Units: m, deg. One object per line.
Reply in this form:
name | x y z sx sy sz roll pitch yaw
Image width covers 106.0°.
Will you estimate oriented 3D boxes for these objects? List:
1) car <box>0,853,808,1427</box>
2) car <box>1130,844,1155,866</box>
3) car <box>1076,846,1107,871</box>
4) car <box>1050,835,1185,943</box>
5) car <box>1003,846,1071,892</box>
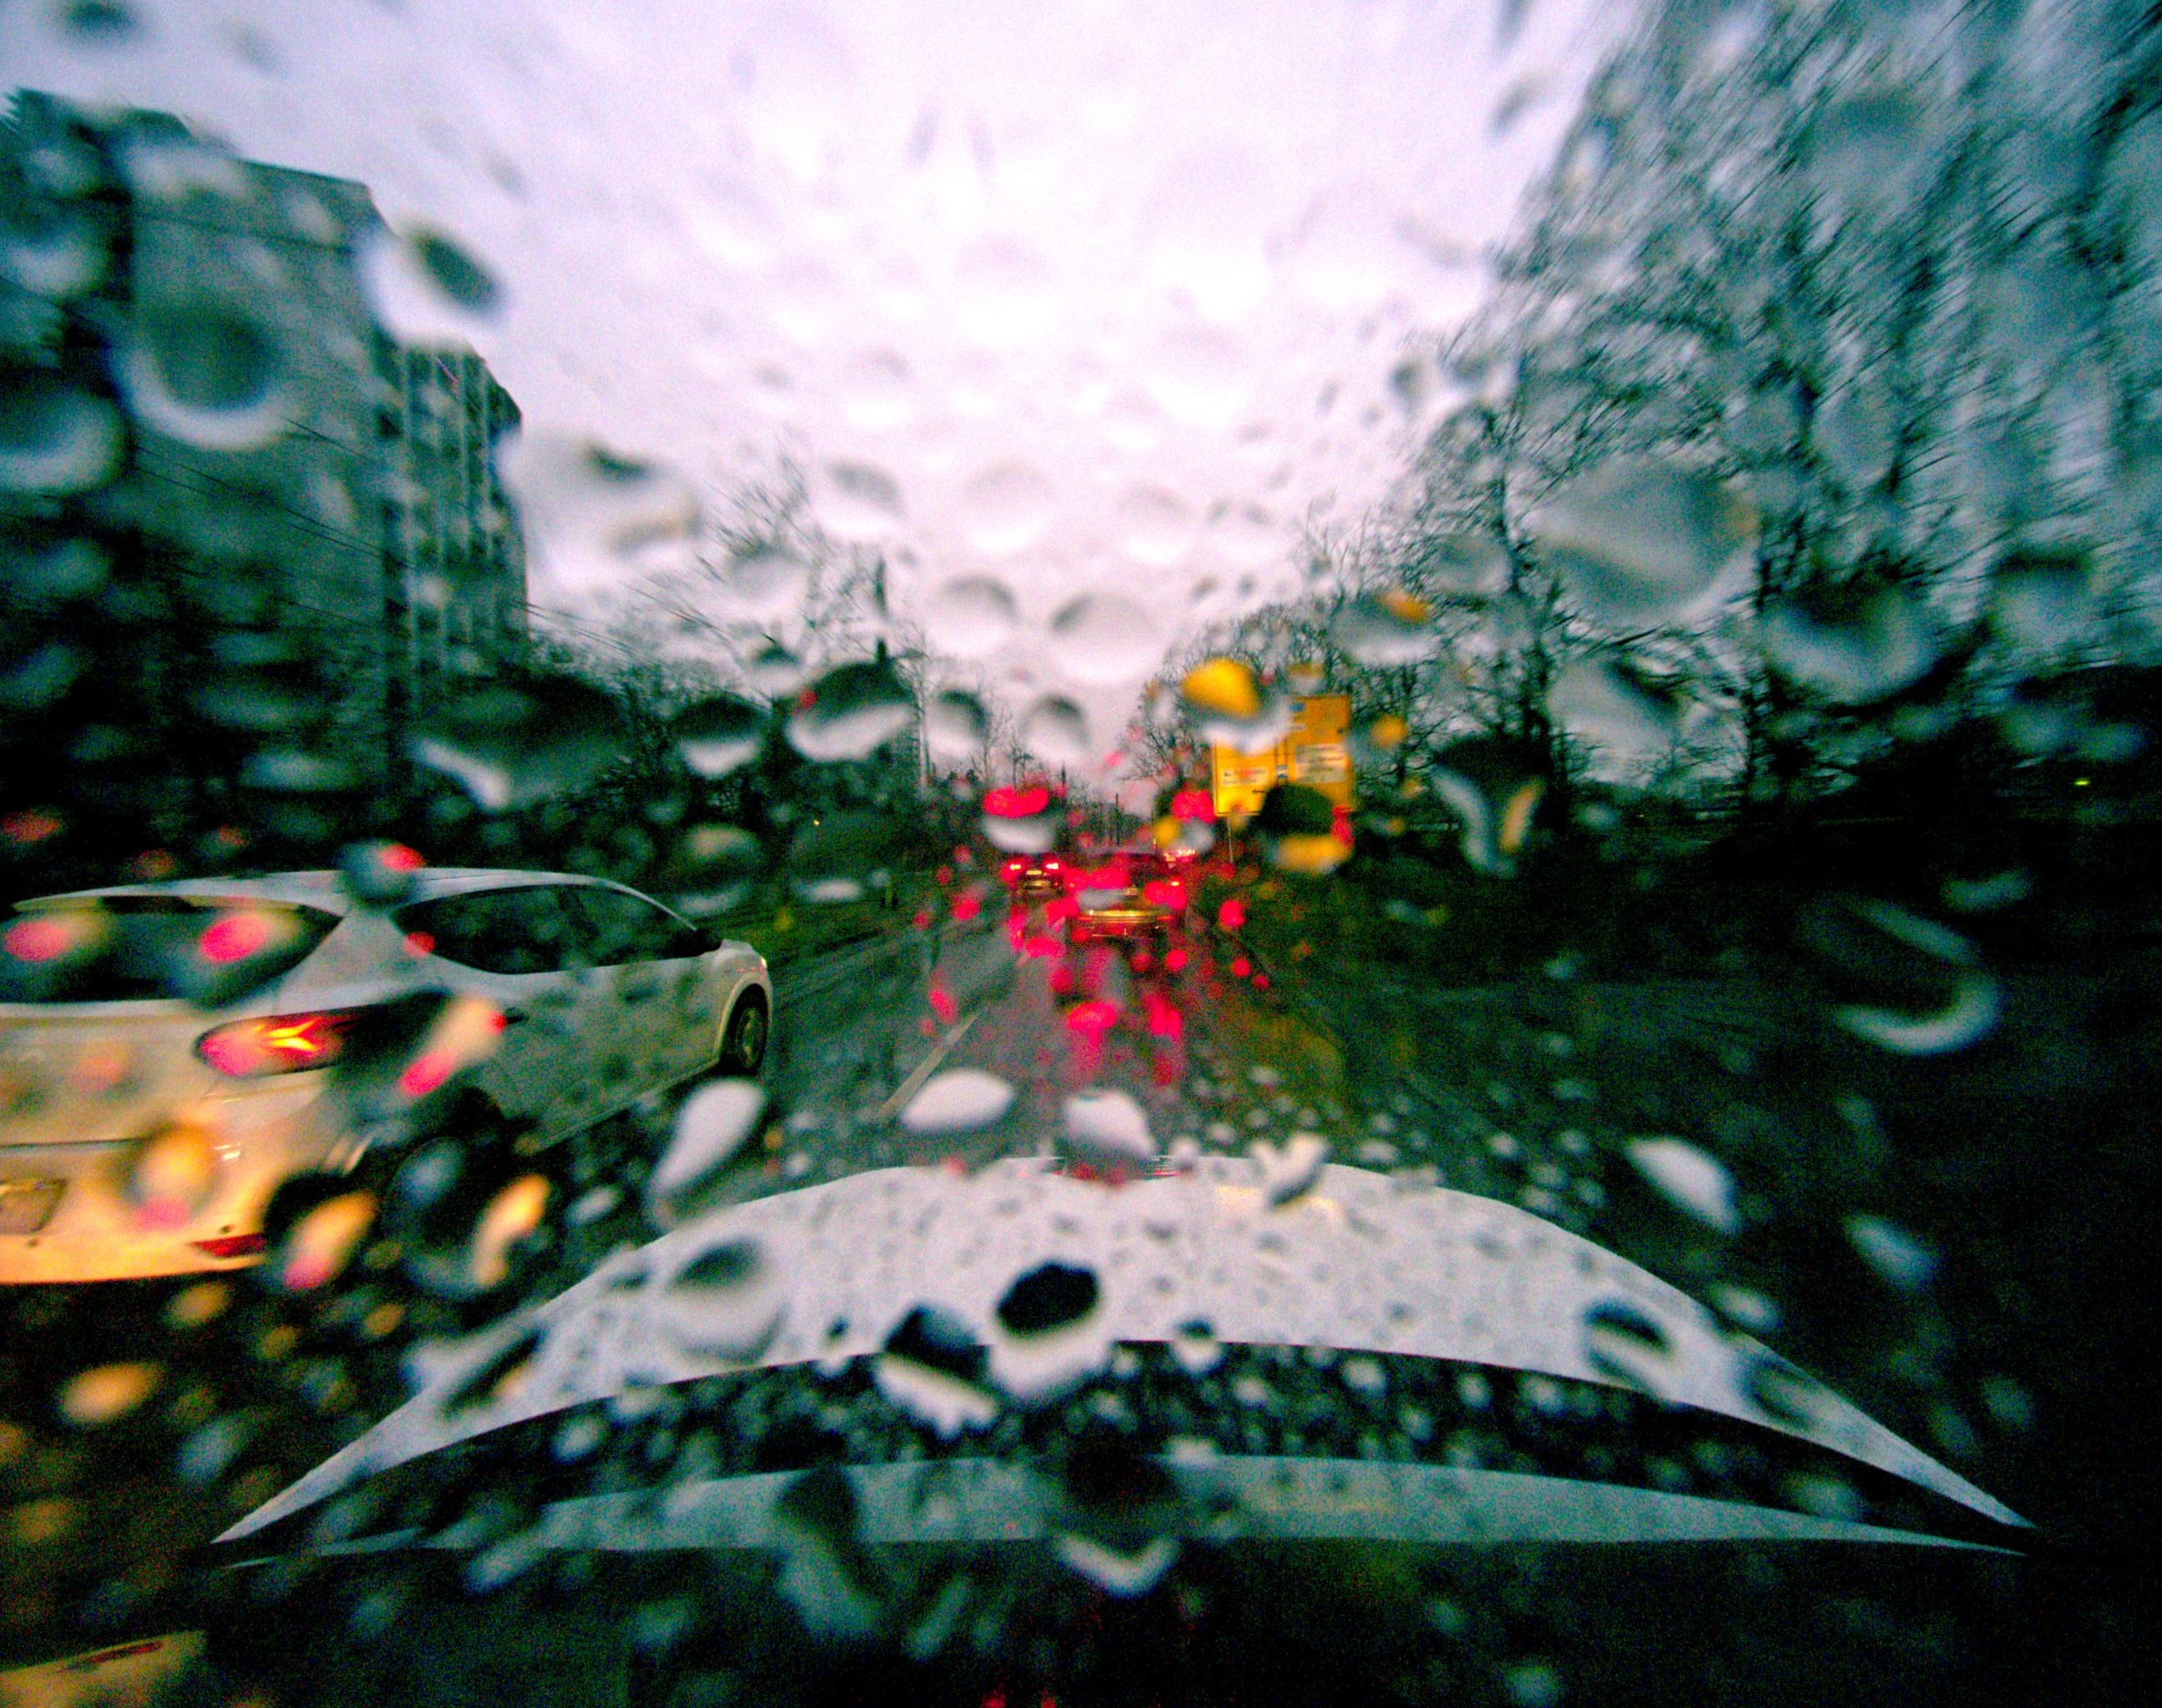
car | -3.091 0.782 4.271 1.701 1.525 4.138 -1 0 3
car | 4.815 0.061 63.222 1.699 1.558 4.004 -1 0 7
car | 0.747 0.268 55.341 1.872 1.593 4.005 -2 1 4
car | 0.650 0.506 14.187 1.990 1.584 4.003 -1 1 3
car | -1.497 0.479 29.348 1.871 1.459 4.005 -2 1 4
